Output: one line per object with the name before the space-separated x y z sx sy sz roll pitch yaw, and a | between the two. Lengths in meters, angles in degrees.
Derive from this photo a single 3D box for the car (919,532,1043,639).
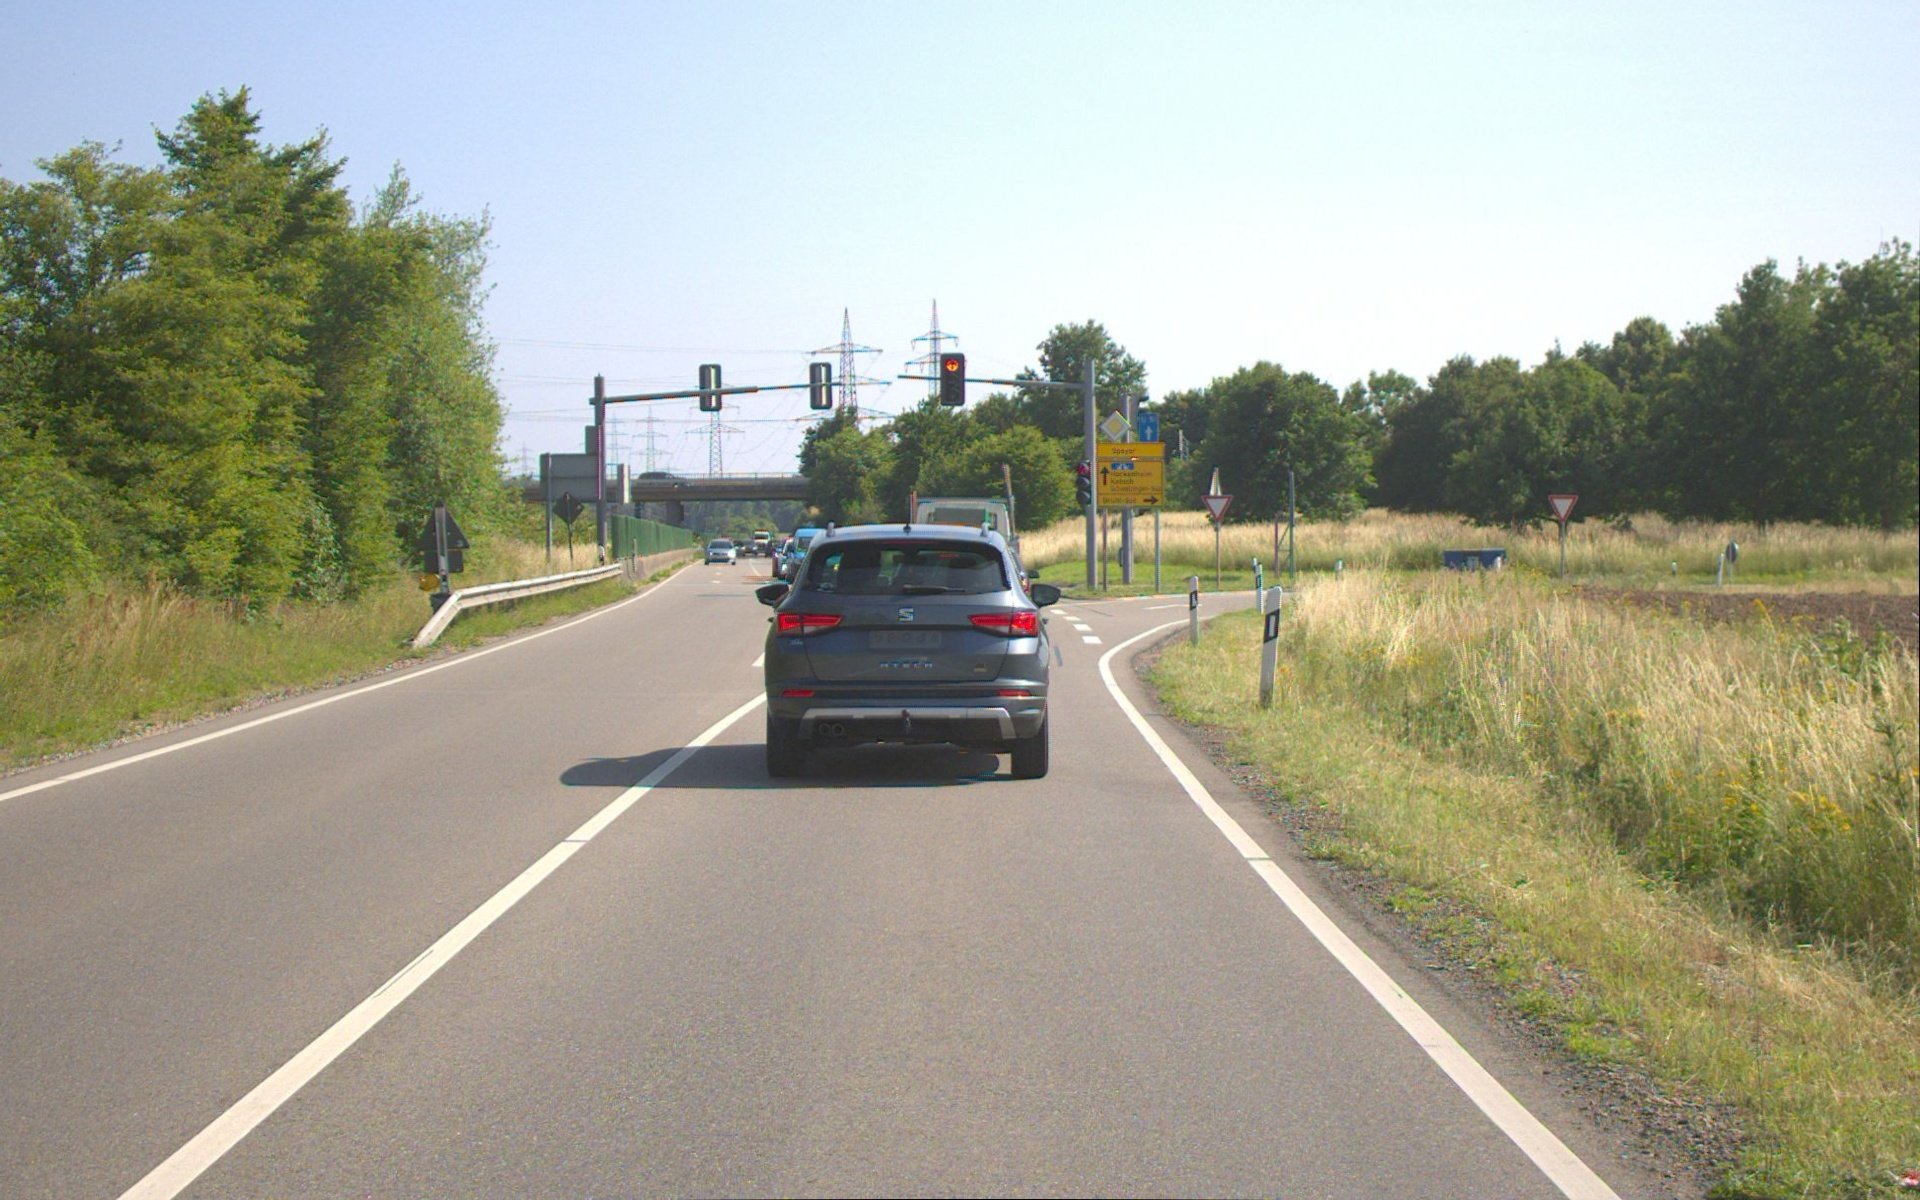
car | 0.282 -0.255 52.582 1.785 1.538 4.001 0 1 -1

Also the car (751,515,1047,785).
car | -0.401 0.253 22.828 1.785 1.623 4.000 0 1 -1

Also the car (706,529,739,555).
car | -13.720 -3.370 198.773 1.824 1.426 4.001 -1 1 -5

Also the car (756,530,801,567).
car | -7.027 -1.979 132.771 1.684 1.375 3.534 0 2 -4

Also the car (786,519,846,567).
car | -4.728 -1.878 112.680 1.816 1.535 4.001 -1 1 -4

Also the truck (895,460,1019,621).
truck | -0.057 -1.176 68.425 2.337 3.055 5.810 0 1 0

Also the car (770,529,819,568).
car | -6.022 -1.883 125.090 1.684 1.375 3.534 0 2 -4

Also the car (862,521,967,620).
car | -0.822 -0.550 60.827 1.785 1.670 4.001 0 1 -1
